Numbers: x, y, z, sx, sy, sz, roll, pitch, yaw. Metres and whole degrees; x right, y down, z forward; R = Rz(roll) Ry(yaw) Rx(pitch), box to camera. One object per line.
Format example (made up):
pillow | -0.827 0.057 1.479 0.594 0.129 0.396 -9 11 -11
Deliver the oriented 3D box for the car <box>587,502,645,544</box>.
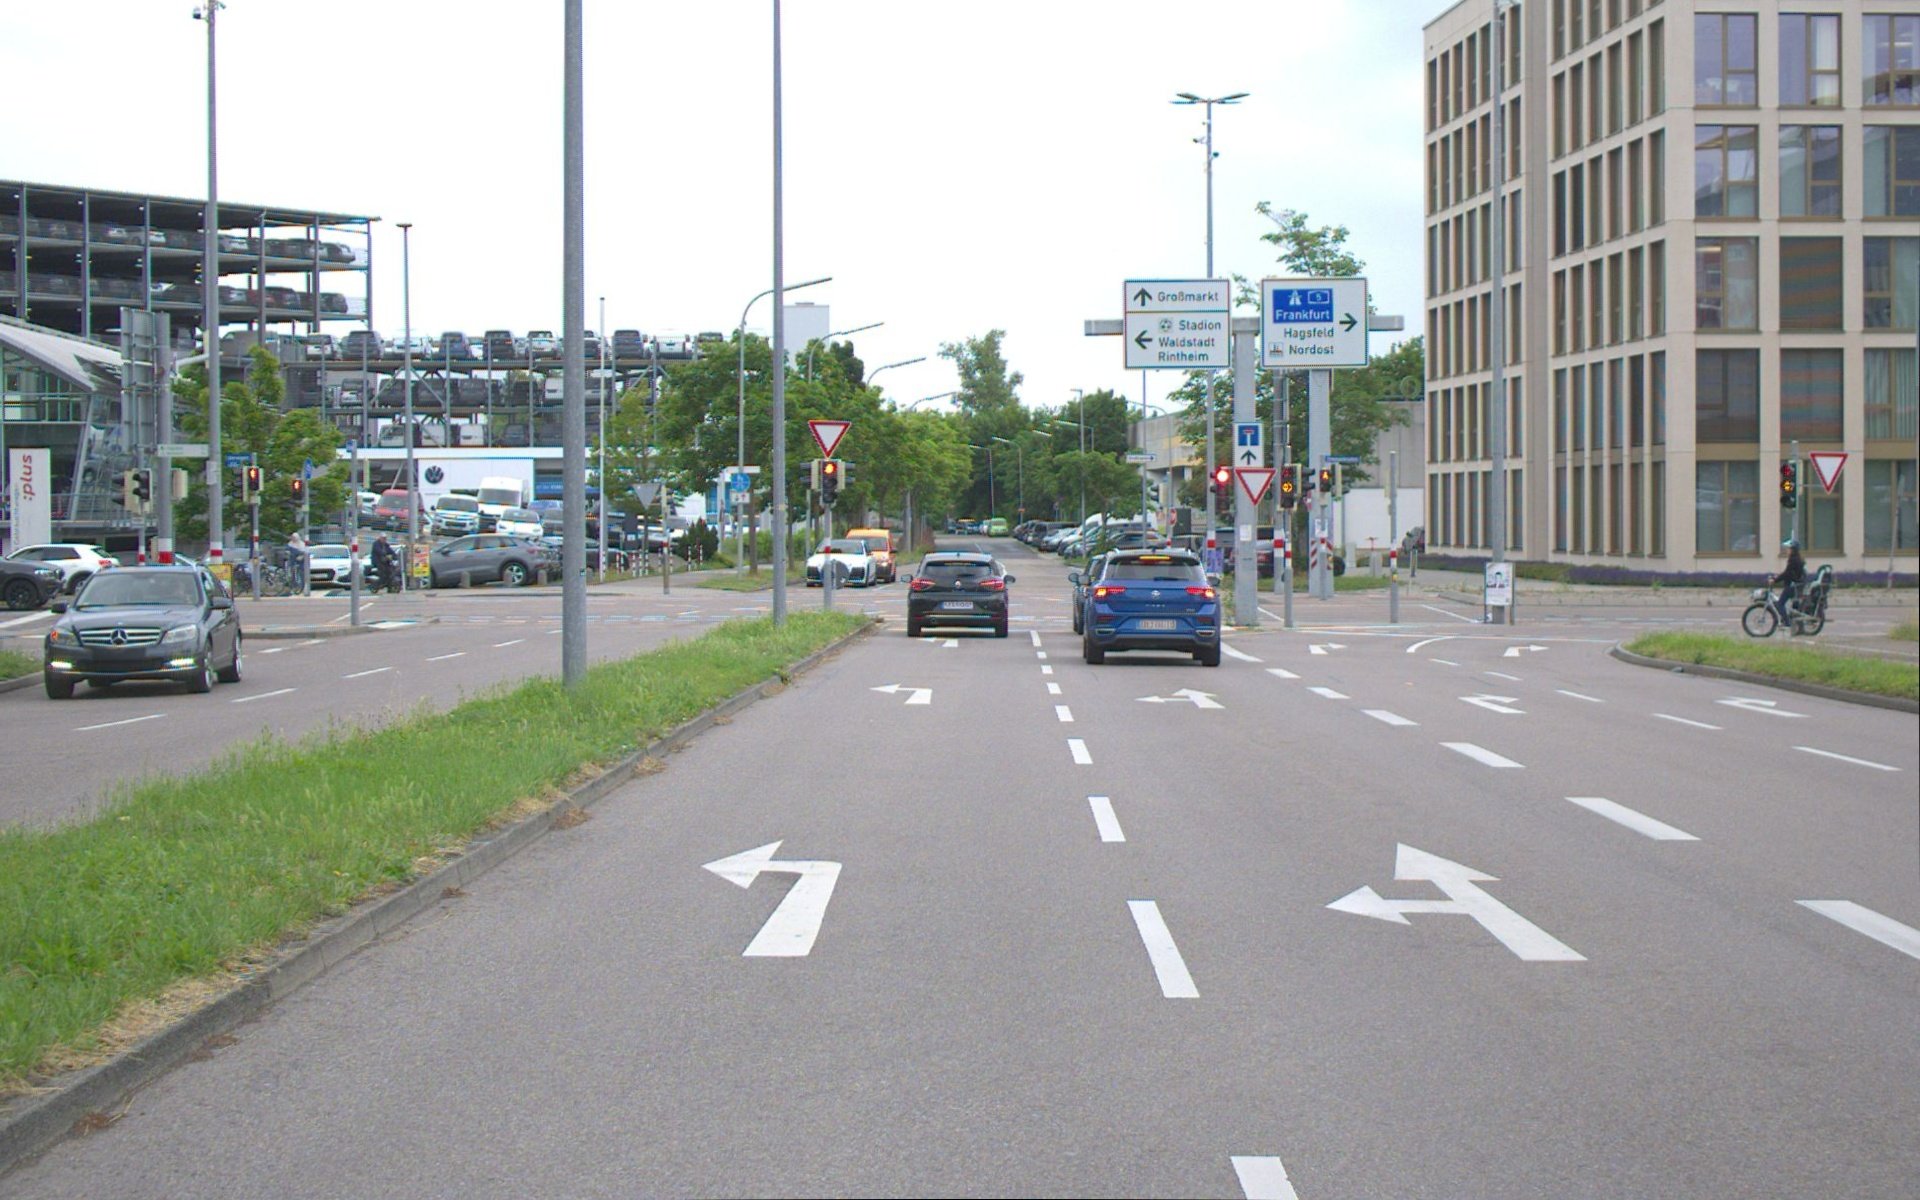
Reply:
car | -14.720 -3.303 147.408 1.776 1.700 3.916 0 3 5

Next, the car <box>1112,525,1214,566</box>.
car | 7.940 -2.140 134.332 3.607 1.473 1.758 1 3 20

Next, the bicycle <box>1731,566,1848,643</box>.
bicycle | 14.599 0.065 60.548 0.700 1.291 2.011 -1 2 -36

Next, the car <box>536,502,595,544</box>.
car | -16.911 -3.303 147.377 1.776 1.700 3.916 0 3 5

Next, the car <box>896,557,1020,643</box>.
car | -0.074 0.003 59.427 1.987 1.423 4.241 0 0 -2

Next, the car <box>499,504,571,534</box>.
car | -22.033 -4.208 178.375 3.661 1.523 1.615 0 3 -7

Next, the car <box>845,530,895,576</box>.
car | -3.007 -1.590 115.483 1.600 1.448 3.325 0 3 0

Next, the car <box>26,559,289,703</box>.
car | -9.143 0.311 39.534 1.791 1.474 4.531 -2 1 2

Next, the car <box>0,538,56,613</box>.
car | -23.270 -0.567 79.425 4.401 1.638 2.001 0 3 -8

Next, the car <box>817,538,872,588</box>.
car | -3.590 -1.171 107.348 1.600 1.448 3.325 0 3 0

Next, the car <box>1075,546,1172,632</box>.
car | 2.884 -0.218 61.197 1.524 1.427 3.390 1 2 -1

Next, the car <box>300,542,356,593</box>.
car | -18.099 -0.944 98.419 1.370 1.321 3.035 -1 3 -14

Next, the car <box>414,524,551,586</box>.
car | -14.368 -1.374 103.551 3.986 1.784 1.848 0 3 -4

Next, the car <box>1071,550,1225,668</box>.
car | 2.519 0.094 46.851 1.835 1.509 4.000 0 1 -1

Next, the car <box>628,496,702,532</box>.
car | -13.519 -3.939 157.580 3.295 1.635 1.480 0 3 -3

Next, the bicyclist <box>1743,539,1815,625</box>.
bicyclist | 14.460 -0.329 60.716 0.700 1.498 1.000 -1 2 -36

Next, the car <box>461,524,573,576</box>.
car | -14.703 -1.679 114.114 3.604 1.662 1.549 0 3 -4

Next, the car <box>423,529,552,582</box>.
car | -14.492 -1.376 105.643 3.822 1.584 1.683 0 3 -4

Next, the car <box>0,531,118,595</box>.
car | -23.614 -0.949 87.607 3.942 1.562 1.760 0 3 -4
